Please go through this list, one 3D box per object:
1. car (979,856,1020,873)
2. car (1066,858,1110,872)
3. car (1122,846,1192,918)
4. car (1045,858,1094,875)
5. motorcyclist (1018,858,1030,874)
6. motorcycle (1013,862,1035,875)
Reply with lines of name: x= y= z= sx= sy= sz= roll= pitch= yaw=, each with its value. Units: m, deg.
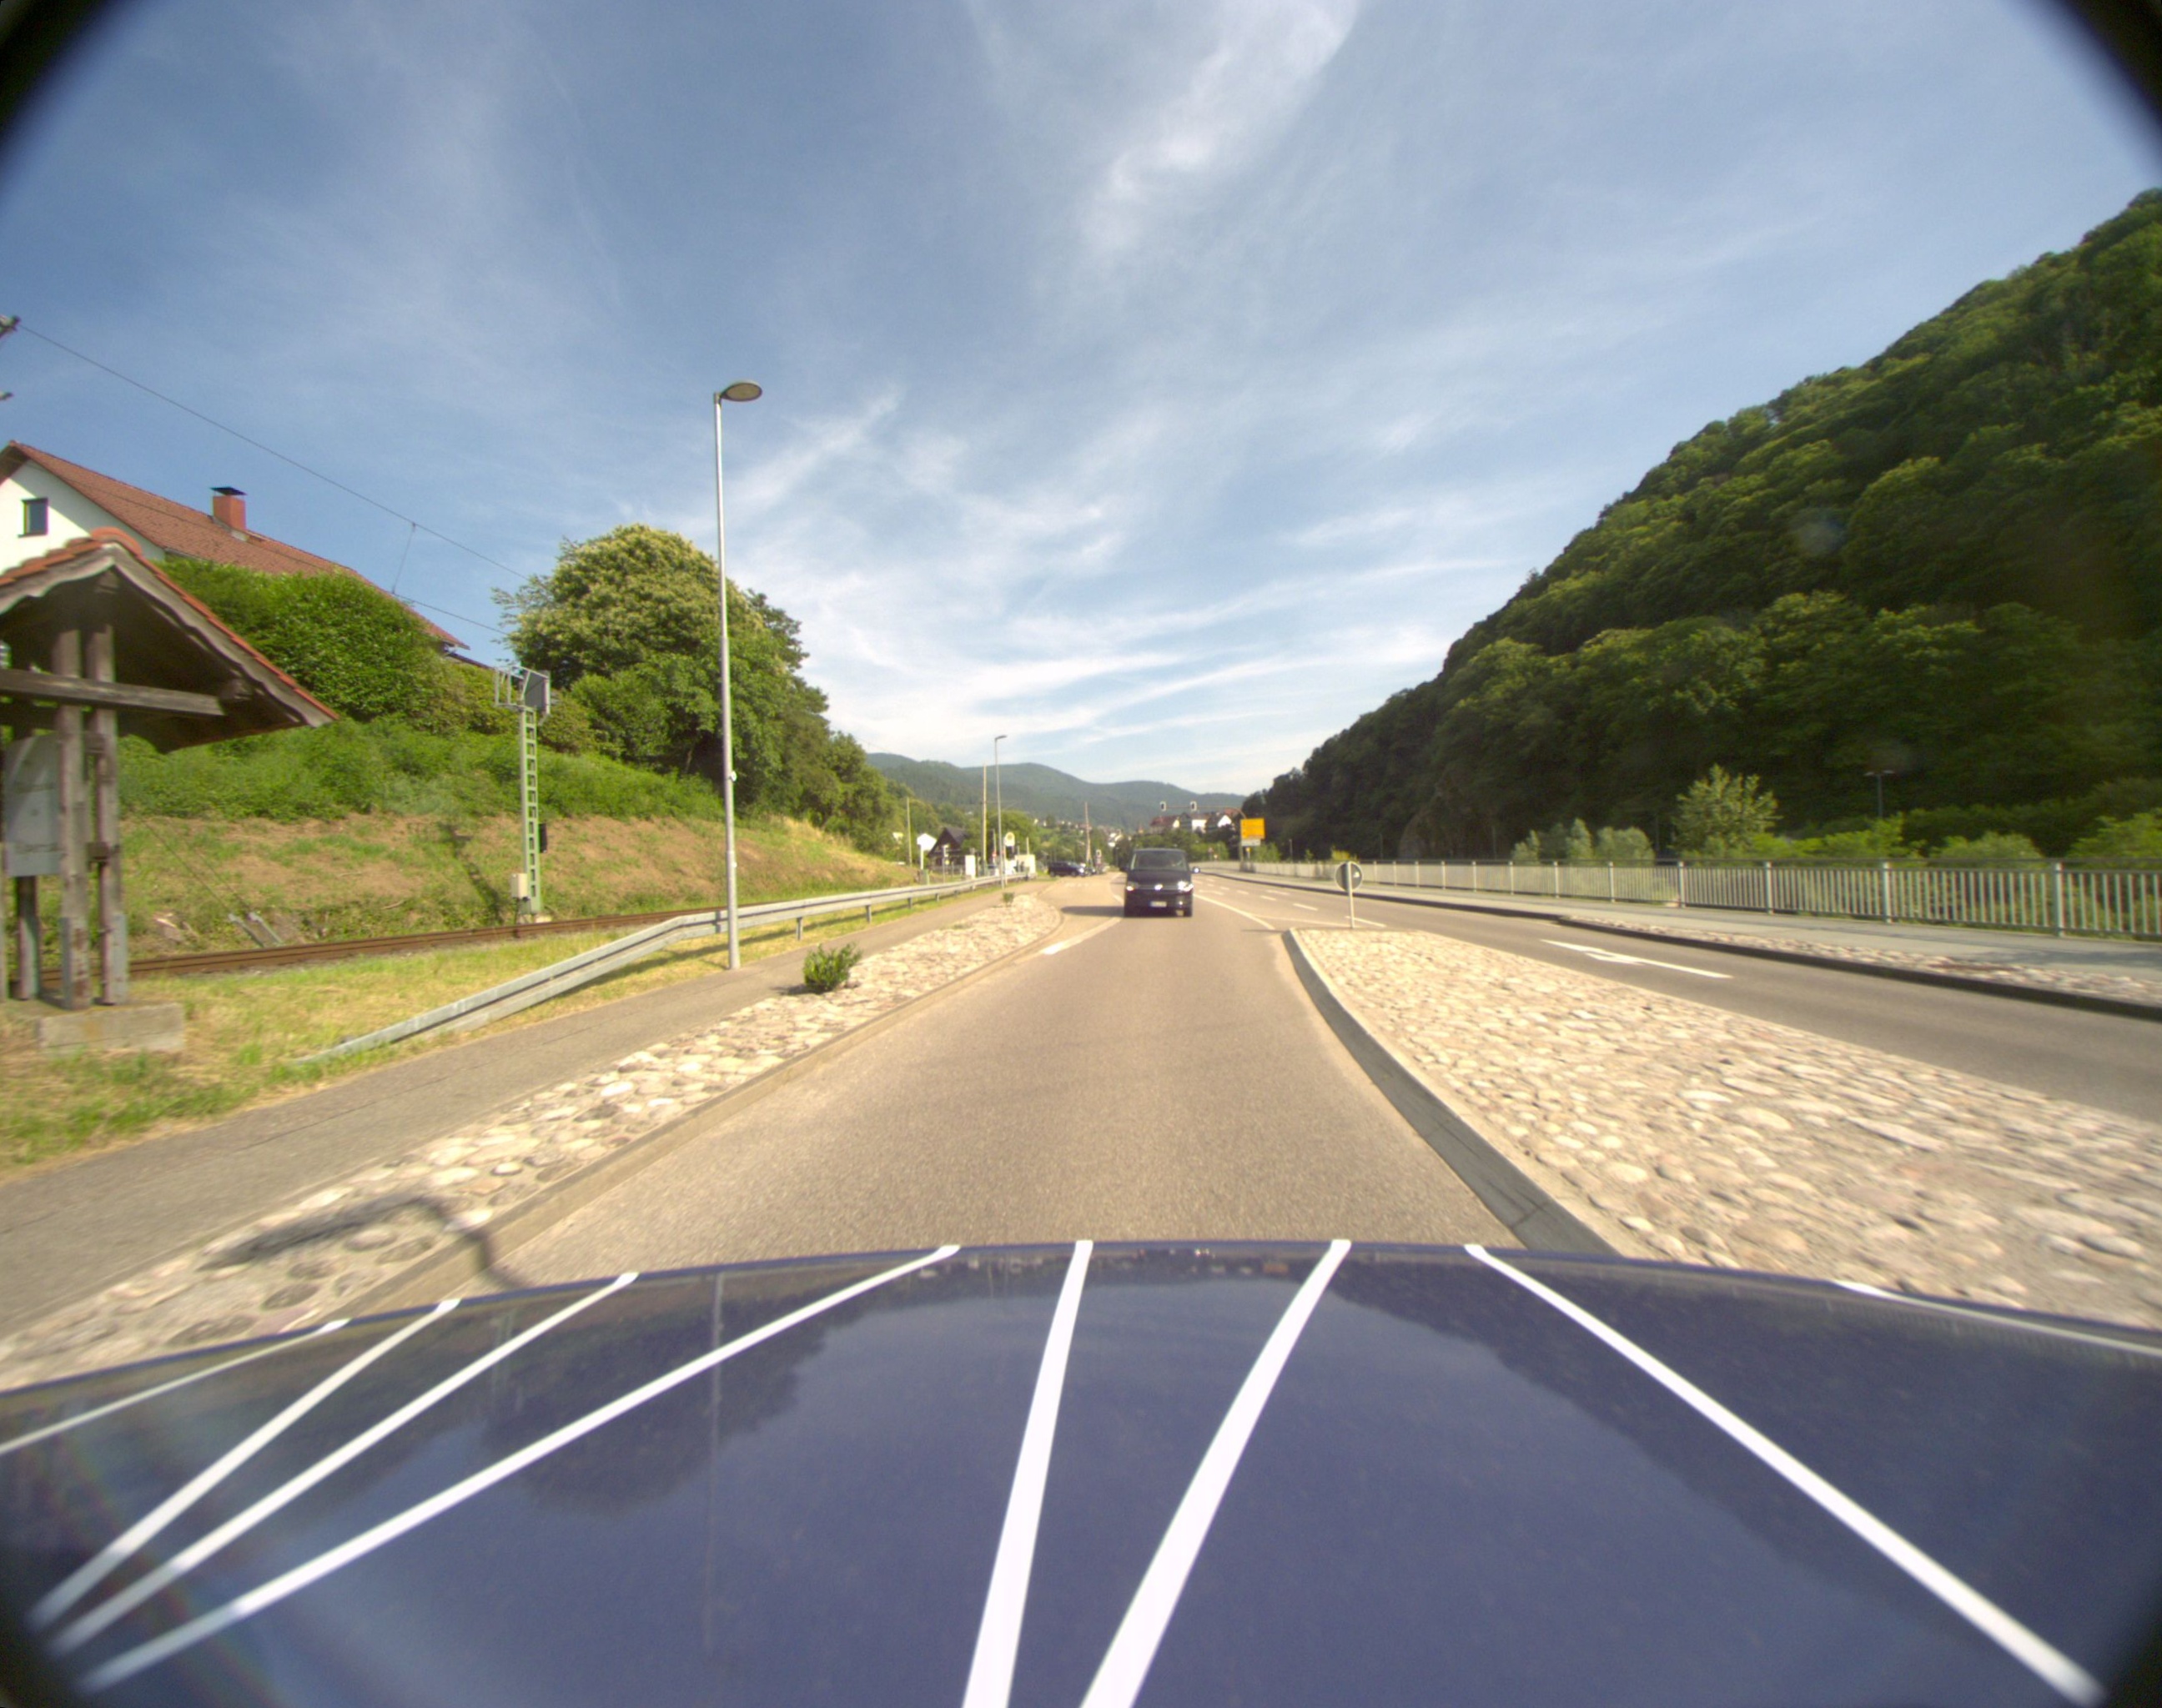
car: x=-9.197 y=1.200 z=85.581 sx=4.118 sy=1.676 sz=1.837 roll=-3 pitch=-1 yaw=16
car: x=0.800 y=1.215 z=84.116 sx=4.736 sy=1.461 sz=1.843 roll=0 pitch=0 yaw=6
car: x=2.298 y=0.770 z=22.734 sx=1.864 sy=1.936 sz=4.640 roll=-1 pitch=0 yaw=6
car: x=-1.170 y=1.287 z=78.147 sx=4.728 sy=1.649 sz=1.935 roll=-1 pitch=-3 yaw=34
motorcyclist: x=-6.064 y=1.265 z=80.517 sx=0.907 sy=1.587 sz=0.767 roll=-3 pitch=0 yaw=20
motorcycle: x=-6.069 y=1.557 z=80.510 sx=2.095 sy=1.247 sz=0.800 roll=-3 pitch=0 yaw=21
